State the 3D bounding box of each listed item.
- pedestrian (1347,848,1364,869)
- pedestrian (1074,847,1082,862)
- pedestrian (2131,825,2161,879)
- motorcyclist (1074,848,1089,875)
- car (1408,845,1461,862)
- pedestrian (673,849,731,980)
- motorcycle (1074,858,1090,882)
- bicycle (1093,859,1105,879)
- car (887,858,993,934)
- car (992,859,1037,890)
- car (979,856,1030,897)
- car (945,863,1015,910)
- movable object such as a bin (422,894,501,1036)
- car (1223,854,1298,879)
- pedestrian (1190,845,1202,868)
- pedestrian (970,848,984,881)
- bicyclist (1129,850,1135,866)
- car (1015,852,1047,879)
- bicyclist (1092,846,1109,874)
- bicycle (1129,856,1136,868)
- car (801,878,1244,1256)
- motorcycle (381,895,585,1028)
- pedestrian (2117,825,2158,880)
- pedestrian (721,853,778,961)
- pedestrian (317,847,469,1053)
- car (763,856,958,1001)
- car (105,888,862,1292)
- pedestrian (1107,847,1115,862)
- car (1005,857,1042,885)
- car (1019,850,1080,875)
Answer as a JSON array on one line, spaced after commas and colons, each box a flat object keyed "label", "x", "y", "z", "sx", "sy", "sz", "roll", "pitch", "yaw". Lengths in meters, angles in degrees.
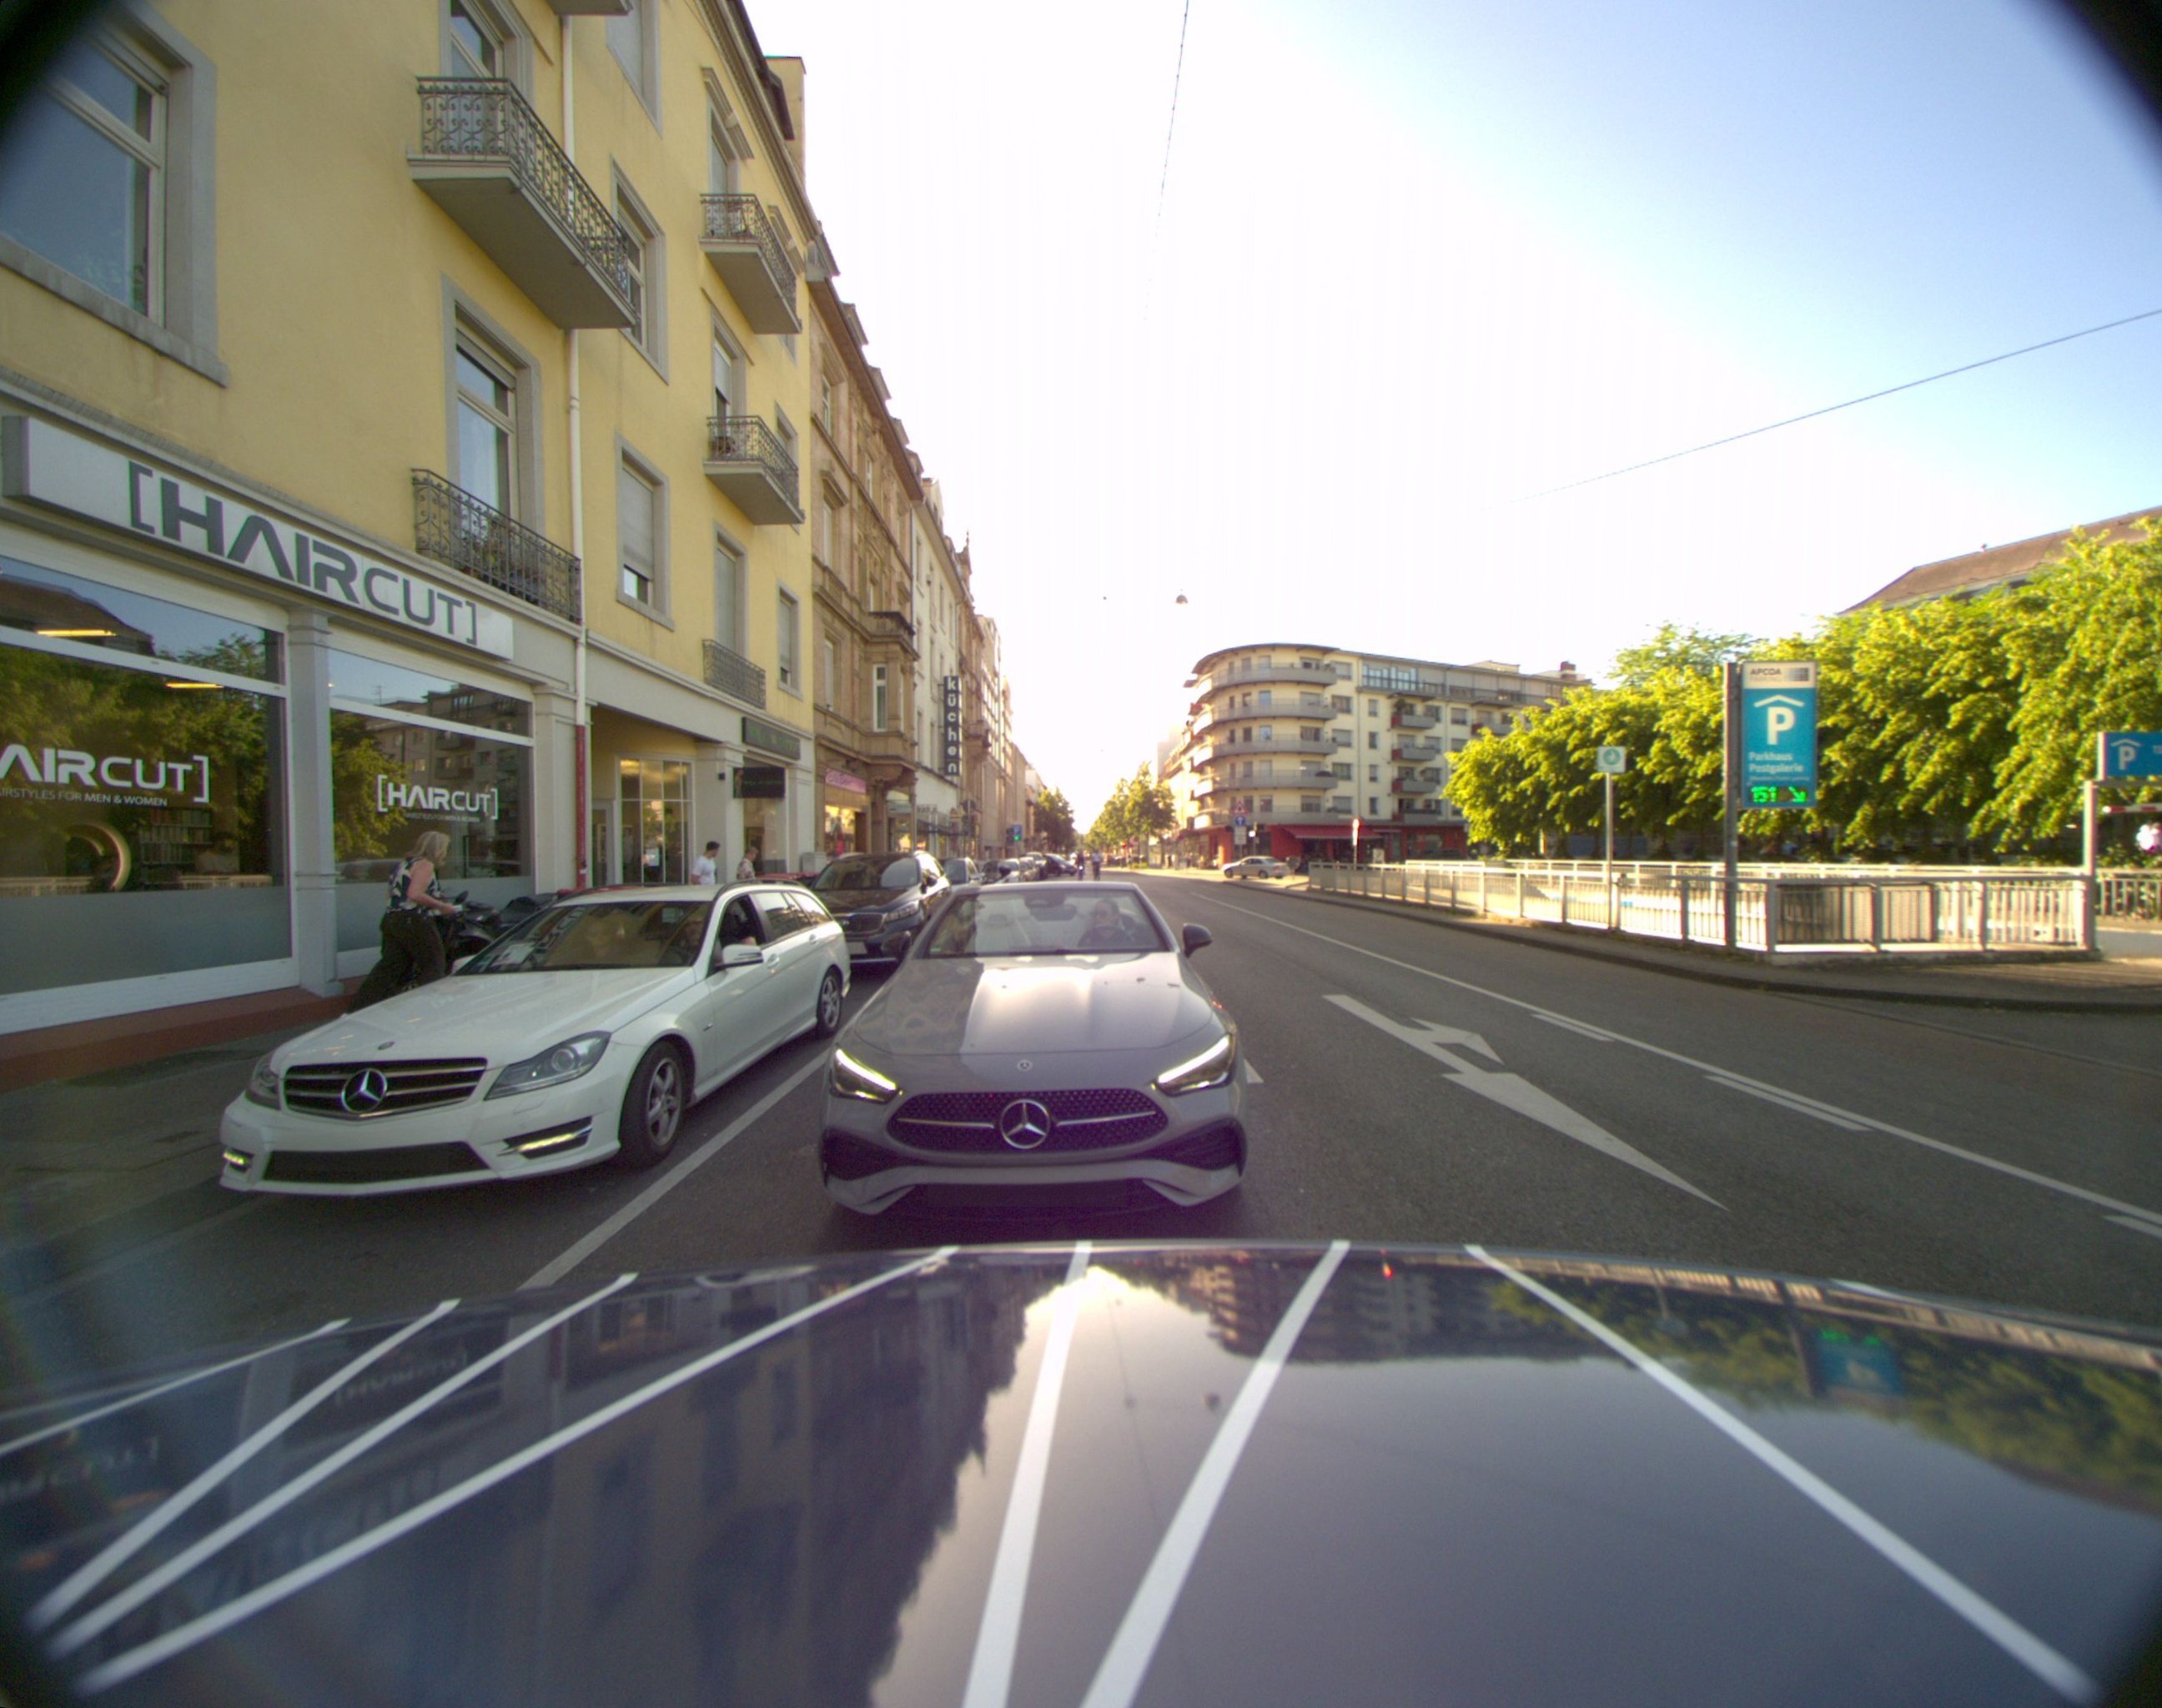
[{"label": "pedestrian", "x": 21.223, "y": 0.354, "z": 58.798, "sx": 0.863, "sy": 1.586, "sz": 0.887, "roll": -3, "pitch": 1, "yaw": -38}, {"label": "pedestrian", "x": -0.446, "y": 0.068, "z": 116.944, "sx": 1.205, "sy": 2.153, "sz": 1.280, "roll": -2, "pitch": 1, "yaw": 1}, {"label": "pedestrian", "x": 34.734, "y": -0.079, "z": 24.659, "sx": 0.647, "sy": 1.711, "sz": 0.607, "roll": -3, "pitch": 1, "yaw": -19}, {"label": "motorcyclist", "x": 0.044, "y": 0.385, "z": 41.017, "sx": 0.722, "sy": 1.438, "sz": 0.705, "roll": -2, "pitch": 1, "yaw": 2}, {"label": "car", "x": 29.051, "y": -0.052, "z": 62.443, "sx": 4.004, "sy": 1.294, "sz": 1.753, "roll": -2, "pitch": 1, "yaw": -23}, {"label": "pedestrian", "x": -5.909, "y": 0.913, "z": 11.880, "sx": 0.373, "sy": 1.971, "sz": 0.695, "roll": 0, "pitch": 1, "yaw": 23}, {"label": "motorcycle", "x": 0.062, "y": 0.851, "z": 41.068, "sx": 0.720, "sy": 1.177, "sz": 1.906, "roll": -2, "pitch": 1, "yaw": 2}, {"label": "bicycle", "x": 1.071, "y": 0.859, "z": 44.625, "sx": 0.640, "sy": 1.078, "sz": 2.061, "roll": -2, "pitch": 1, "yaw": 1}, {"label": "car", "x": -3.294, "y": 0.922, "z": 18.549, "sx": 1.802, "sy": 1.518, "sz": 4.085, "roll": -2, "pitch": 1, "yaw": -1}, {"label": "car", "x": -3.163, "y": 0.956, "z": 36.817, "sx": 1.802, "sy": 1.332, "sz": 3.838, "roll": -2, "pitch": 1, "yaw": -1}, {"label": "car", "x": -3.022, "y": 0.851, "z": 30.714, "sx": 1.660, "sy": 1.423, "sz": 4.085, "roll": -2, "pitch": 1, "yaw": -1}, {"label": "car", "x": -3.302, "y": 1.027, "z": 25.463, "sx": 1.802, "sy": 1.259, "sz": 4.085, "roll": -2, "pitch": 1, "yaw": -1}, {"label": "movable object such as a bin", "x": -5.617, "y": 0.990, "z": 6.901, "sx": 0.391, "sy": 1.231, "sz": 0.394, "roll": 1, "pitch": 1, "yaw": 1}, {"label": "car", "x": 11.178, "y": 0.748, "z": 47.483, "sx": 1.828, "sy": 1.346, "sz": 4.252, "roll": 0, "pitch": 2, "yaw": -40}, {"label": "pedestrian", "x": 10.288, "y": 0.181, "z": 68.034, "sx": 0.860, "sy": 2.002, "sz": 0.889, "roll": -2, "pitch": 1, "yaw": 0}, {"label": "pedestrian", "x": -5.847, "y": 0.589, "z": 42.713, "sx": 0.574, "sy": 1.840, "sz": 0.665, "roll": -2, "pitch": 1, "yaw": 1}, {"label": "bicyclist", "x": 5.033, "y": 0.402, "z": 74.849, "sx": 0.525, "sy": 1.539, "sz": 0.798, "roll": -2, "pitch": 1, "yaw": 0}, {"label": "car", "x": -3.092, "y": 0.698, "z": 47.755, "sx": 1.725, "sy": 1.506, "sz": 4.004, "roll": -2, "pitch": 1, "yaw": -1}, {"label": "bicyclist", "x": 1.138, "y": 0.346, "z": 44.670, "sx": 0.885, "sy": 1.625, "sz": 0.768, "roll": -2, "pitch": 1, "yaw": 1}, {"label": "bicycle", "x": 5.043, "y": 0.753, "z": 74.894, "sx": 0.527, "sy": 1.163, "sz": 1.593, "roll": -2, "pitch": 1, "yaw": 0}, {"label": "car", "x": -0.252, "y": 0.956, "z": 5.183, "sx": 1.802, "sy": 1.351, "sz": 3.999, "roll": -2, "pitch": 1, "yaw": 0}, {"label": "motorcycle", "x": -6.134, "y": 1.043, "z": 7.963, "sx": 0.567, "sy": 1.072, "sz": 1.954, "roll": 2, "pitch": 1, "yaw": 1}, {"label": "pedestrian", "x": 34.018, "y": -0.047, "z": 24.473, "sx": 0.647, "sy": 1.711, "sz": 0.607, "roll": -3, "pitch": 1, "yaw": -19}, {"label": "pedestrian", "x": -5.844, "y": 0.915, "z": 13.422, "sx": 0.574, "sy": 1.840, "sz": 0.665, "roll": -2, "pitch": 1, "yaw": 8}, {"label": "pedestrian", "x": -5.751, "y": 0.769, "z": 6.389, "sx": 0.719, "sy": 1.644, "sz": 0.606, "roll": 1, "pitch": 1, "yaw": 1}, {"label": "car", "x": -3.014, "y": 0.903, "z": 11.335, "sx": 1.803, "sy": 1.629, "sz": 4.243, "roll": -2, "pitch": 1, "yaw": -3}, {"label": "car", "x": -3.059, "y": 1.063, "z": 5.282, "sx": 1.704, "sy": 1.351, "sz": 4.378, "roll": -2, "pitch": 1, "yaw": 1}, {"label": "pedestrian", "x": 3.945, "y": 0.066, "z": 100.019, "sx": 0.860, "sy": 2.002, "sz": 0.889, "roll": -2, "pitch": 1, "yaw": 1}, {"label": "car", "x": -3.068, "y": 0.875, "z": 41.055, "sx": 1.725, "sy": 1.332, "sz": 3.668, "roll": -2, "pitch": 1, "yaw": -1}, {"label": "car", "x": -2.197, "y": 0.606, "z": 53.766, "sx": 3.995, "sy": 1.543, "sz": 1.858, "roll": -2, "pitch": 1, "yaw": 5}]
